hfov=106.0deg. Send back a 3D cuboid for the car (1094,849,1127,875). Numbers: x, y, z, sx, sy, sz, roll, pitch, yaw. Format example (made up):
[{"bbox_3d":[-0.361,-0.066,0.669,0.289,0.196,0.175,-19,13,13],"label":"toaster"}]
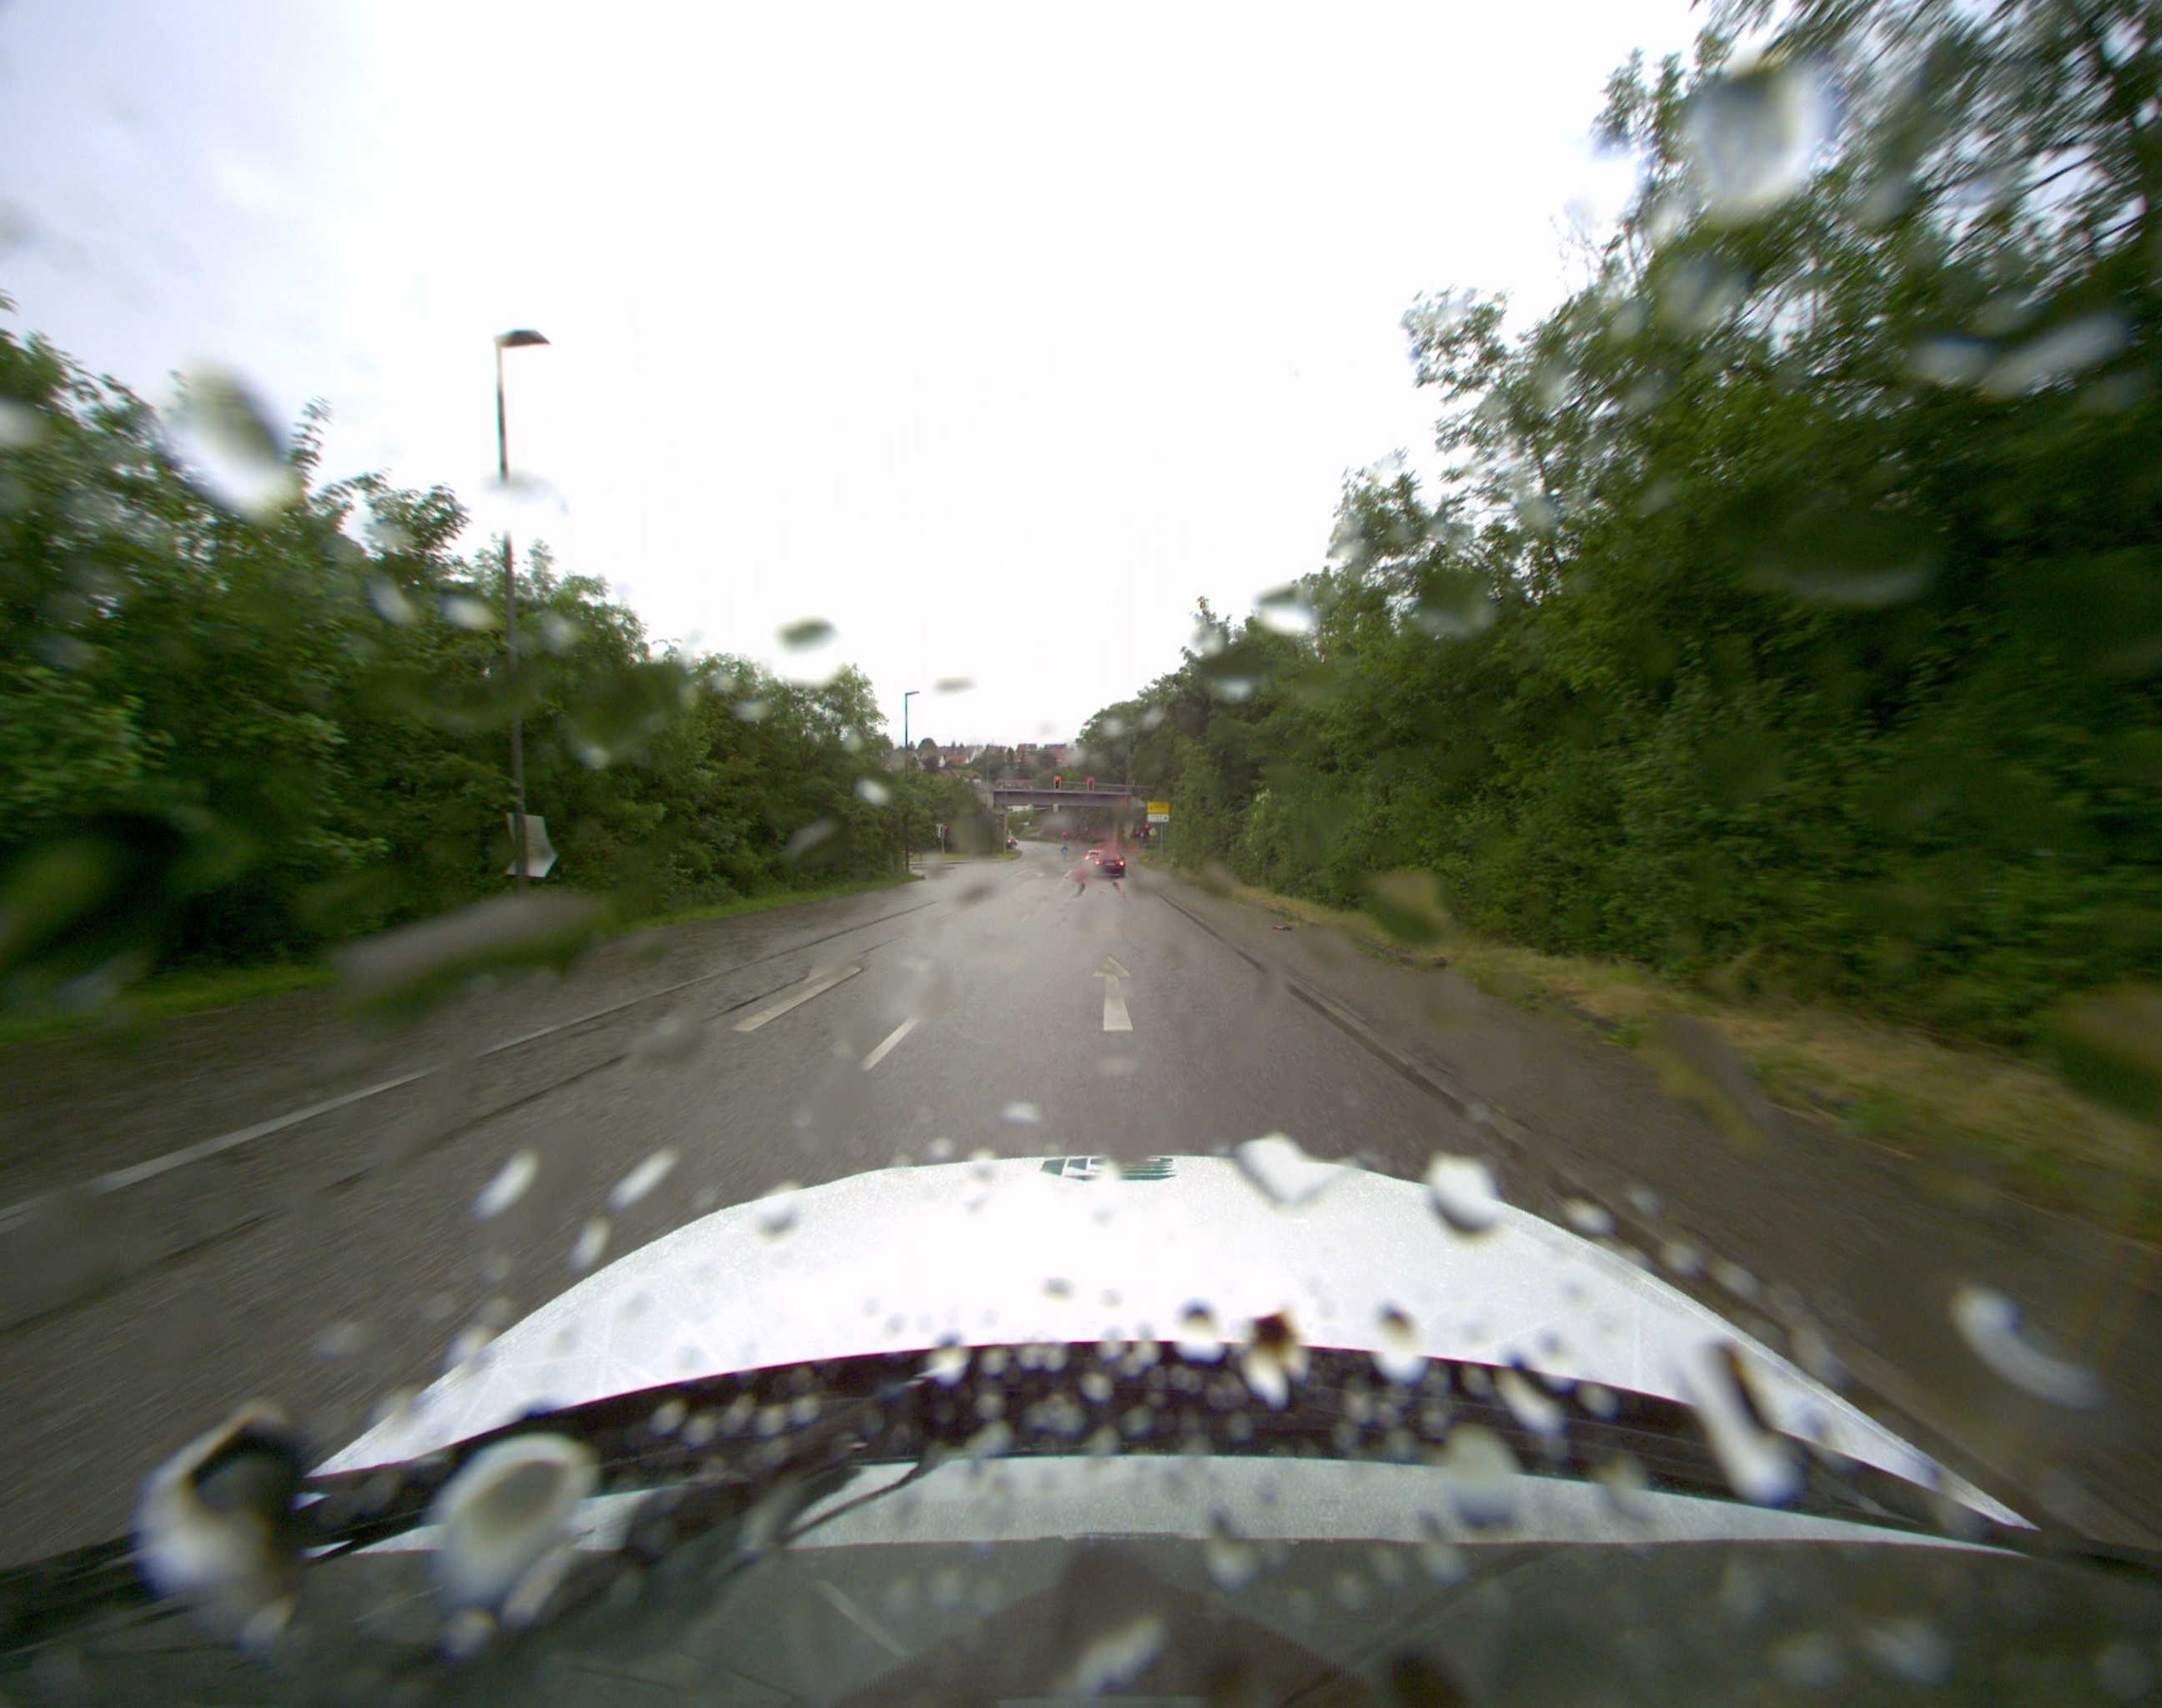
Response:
[{"bbox_3d":[1.676,0.427,46.096,1.761,1.380,4.002,-1,0,2],"label":"car"}]

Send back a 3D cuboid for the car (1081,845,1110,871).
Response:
[{"bbox_3d":[0.963,0.248,52.777,1.761,1.563,4.002,-1,0,2],"label":"car"}]
